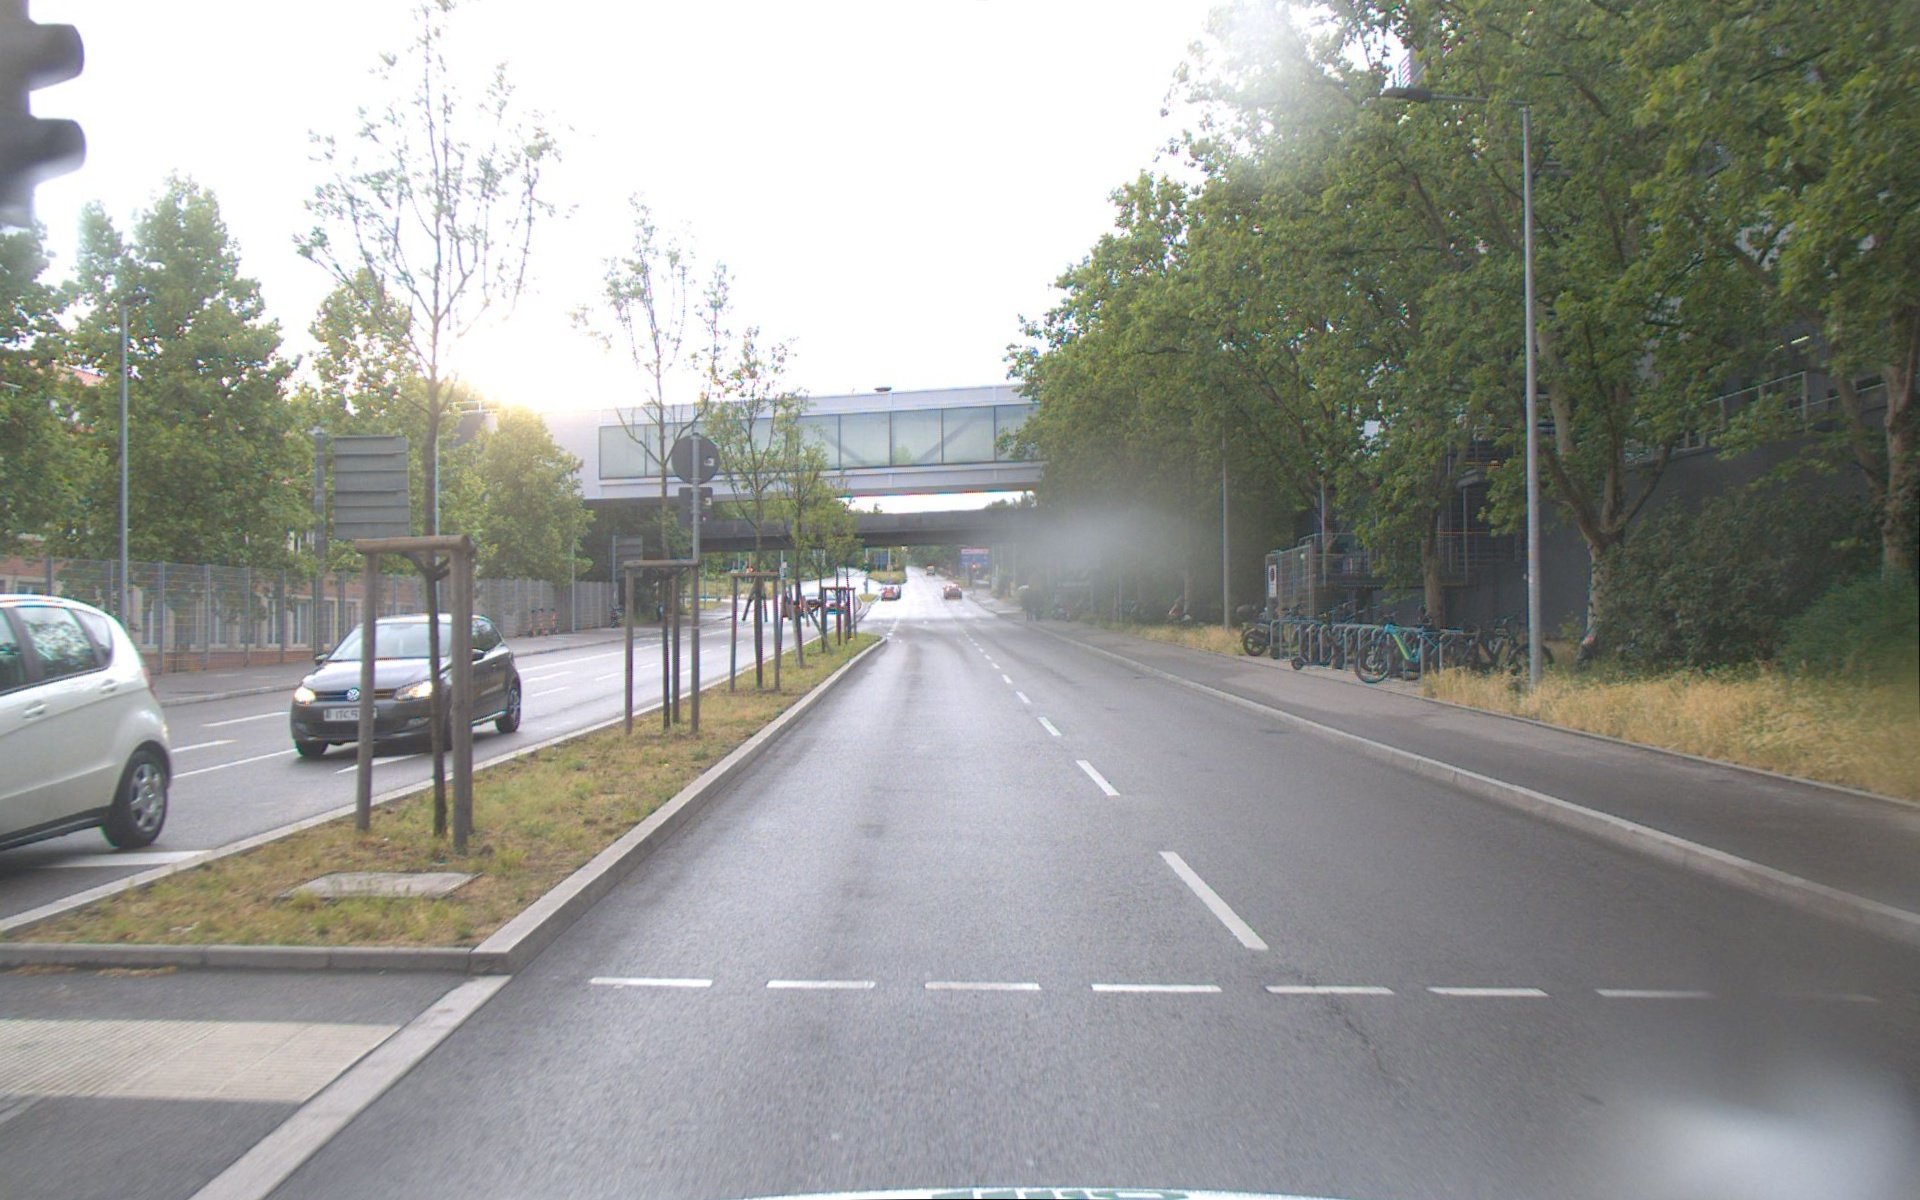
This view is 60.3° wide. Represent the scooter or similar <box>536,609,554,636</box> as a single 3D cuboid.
[{"bbox_3d":[-19.327,1.039,77.057,0.305,1.239,1.309,-1,0,10],"label":"scooter or similar"}]

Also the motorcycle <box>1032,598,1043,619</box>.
[{"bbox_3d":[4.349,0.470,92.811,0.460,1.156,1.818,-1,0,-2],"label":"motorcycle"}]

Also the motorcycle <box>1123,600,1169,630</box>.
[{"bbox_3d":[7.756,0.623,68.949,1.819,1.212,0.519,-1,0,-17],"label":"motorcycle"}]

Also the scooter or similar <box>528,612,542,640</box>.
[{"bbox_3d":[-19.246,1.183,74.918,0.305,1.239,1.307,-1,0,-1],"label":"scooter or similar"}]

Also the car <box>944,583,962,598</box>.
[{"bbox_3d":[-0.730,-0.987,174.647,1.710,1.495,4.164,0,1,-2],"label":"car"}]

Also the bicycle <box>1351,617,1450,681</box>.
[{"bbox_3d":[7.370,0.820,27.684,1.520,1.022,0.393,-2,0,-2],"label":"bicycle"}]

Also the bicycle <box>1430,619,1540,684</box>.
[{"bbox_3d":[8.215,0.804,25.905,1.575,0.956,0.387,-2,-1,-2],"label":"bicycle"}]

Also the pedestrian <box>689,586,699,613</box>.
[{"bbox_3d":[-18.800,-0.038,116.797,0.508,1.847,0.800,0,0,8],"label":"pedestrian"}]

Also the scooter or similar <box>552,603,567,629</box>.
[{"bbox_3d":[-19.350,0.779,79.842,0.305,1.239,1.308,-1,0,3],"label":"scooter or similar"}]

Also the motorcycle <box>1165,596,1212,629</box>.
[{"bbox_3d":[8.135,0.448,58.917,1.618,1.170,0.493,1,-1,6],"label":"motorcycle"}]

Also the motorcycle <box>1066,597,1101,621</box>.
[{"bbox_3d":[6.902,0.501,92.198,1.904,1.320,0.546,-1,0,34],"label":"motorcycle"}]

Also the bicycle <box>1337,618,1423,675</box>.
[{"bbox_3d":[7.995,0.878,31.507,1.520,1.022,0.393,-2,0,-2],"label":"bicycle"}]

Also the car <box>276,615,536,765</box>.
[{"bbox_3d":[-6.036,0.910,18.499,1.546,1.428,4.110,-2,0,-1],"label":"car"}]

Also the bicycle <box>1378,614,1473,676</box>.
[{"bbox_3d":[8.080,0.771,28.706,1.520,1.022,0.393,-2,0,-2],"label":"bicycle"}]

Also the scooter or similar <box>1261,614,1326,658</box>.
[{"bbox_3d":[7.658,0.826,37.952,1.450,0.953,0.364,-1,0,-19],"label":"scooter or similar"}]

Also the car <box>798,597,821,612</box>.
[{"bbox_3d":[-14.458,0.453,158.905,2.022,1.385,4.754,-1,0,-3],"label":"car"}]

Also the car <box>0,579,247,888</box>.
[{"bbox_3d":[-5.904,0.733,9.360,1.735,1.617,4.485,-2,-1,0],"label":"car"}]

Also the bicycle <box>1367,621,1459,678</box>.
[{"bbox_3d":[8.117,0.880,29.628,1.520,0.975,0.393,-2,0,-2],"label":"bicycle"}]

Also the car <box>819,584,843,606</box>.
[{"bbox_3d":[-10.123,-0.392,129.902,1.553,1.633,3.854,-2,0,-1],"label":"car"}]

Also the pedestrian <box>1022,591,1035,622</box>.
[{"bbox_3d":[3.851,0.360,92.986,0.598,1.751,0.892,-1,0,8],"label":"pedestrian"}]

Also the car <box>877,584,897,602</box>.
[{"bbox_3d":[-7.698,-0.737,174.987,2.035,1.748,4.195,1,-1,-3],"label":"car"}]

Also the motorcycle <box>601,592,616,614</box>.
[{"bbox_3d":[-20.511,0.154,96.516,0.459,1.226,1.996,-1,1,-2],"label":"motorcycle"}]

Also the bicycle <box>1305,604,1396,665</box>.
[{"bbox_3d":[8.003,0.694,33.931,1.754,1.187,0.447,-2,0,-8],"label":"bicycle"}]

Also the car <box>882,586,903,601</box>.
[{"bbox_3d":[-7.518,-0.696,185.367,2.122,1.610,4.663,1,-1,0],"label":"car"}]

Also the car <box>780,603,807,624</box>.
[{"bbox_3d":[-12.539,1.029,124.717,1.681,1.462,3.770,-2,0,-2],"label":"car"}]

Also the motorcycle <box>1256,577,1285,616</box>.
[{"bbox_3d":[11.259,-0.111,59.966,0.496,1.389,1.499,1,-1,-12],"label":"motorcycle"}]

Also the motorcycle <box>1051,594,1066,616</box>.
[{"bbox_3d":[5.540,0.274,93.293,0.460,1.234,1.941,-1,0,-7],"label":"motorcycle"}]

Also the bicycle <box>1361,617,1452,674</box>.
[{"bbox_3d":[8.102,0.825,30.047,1.520,0.975,0.393,-2,0,-2],"label":"bicycle"}]

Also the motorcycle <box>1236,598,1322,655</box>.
[{"bbox_3d":[7.592,0.636,39.359,1.966,1.295,0.442,-2,0,11],"label":"motorcycle"}]

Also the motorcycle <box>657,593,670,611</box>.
[{"bbox_3d":[-19.943,0.132,111.329,0.459,1.179,1.933,-1,1,2],"label":"motorcycle"}]

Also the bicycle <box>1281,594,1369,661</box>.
[{"bbox_3d":[7.886,0.586,35.715,1.826,1.372,0.446,-1,0,-14],"label":"bicycle"}]

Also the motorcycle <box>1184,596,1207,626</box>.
[{"bbox_3d":[10.516,0.473,73.891,0.632,1.302,1.990,-1,0,-2],"label":"motorcycle"}]

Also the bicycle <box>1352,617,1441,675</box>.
[{"bbox_3d":[8.092,0.855,30.689,1.520,1.022,0.393,-2,0,-2],"label":"bicycle"}]

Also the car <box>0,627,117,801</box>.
[{"bbox_3d":[-8.869,0.984,13.414,1.737,1.428,4.613,-2,0,-1],"label":"car"}]

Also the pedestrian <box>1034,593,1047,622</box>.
[{"bbox_3d":[4.506,0.428,92.740,0.636,1.624,0.579,-1,0,10],"label":"pedestrian"}]

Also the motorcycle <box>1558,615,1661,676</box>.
[{"bbox_3d":[11.555,0.804,29.436,1.575,1.019,0.577,-2,-1,-2],"label":"motorcycle"}]

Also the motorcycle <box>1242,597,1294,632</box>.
[{"bbox_3d":[11.570,0.547,62.184,1.874,1.279,0.491,1,-1,4],"label":"motorcycle"}]

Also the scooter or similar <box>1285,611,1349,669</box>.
[{"bbox_3d":[7.035,0.784,32.599,1.189,1.110,0.312,-2,0,-6],"label":"scooter or similar"}]
